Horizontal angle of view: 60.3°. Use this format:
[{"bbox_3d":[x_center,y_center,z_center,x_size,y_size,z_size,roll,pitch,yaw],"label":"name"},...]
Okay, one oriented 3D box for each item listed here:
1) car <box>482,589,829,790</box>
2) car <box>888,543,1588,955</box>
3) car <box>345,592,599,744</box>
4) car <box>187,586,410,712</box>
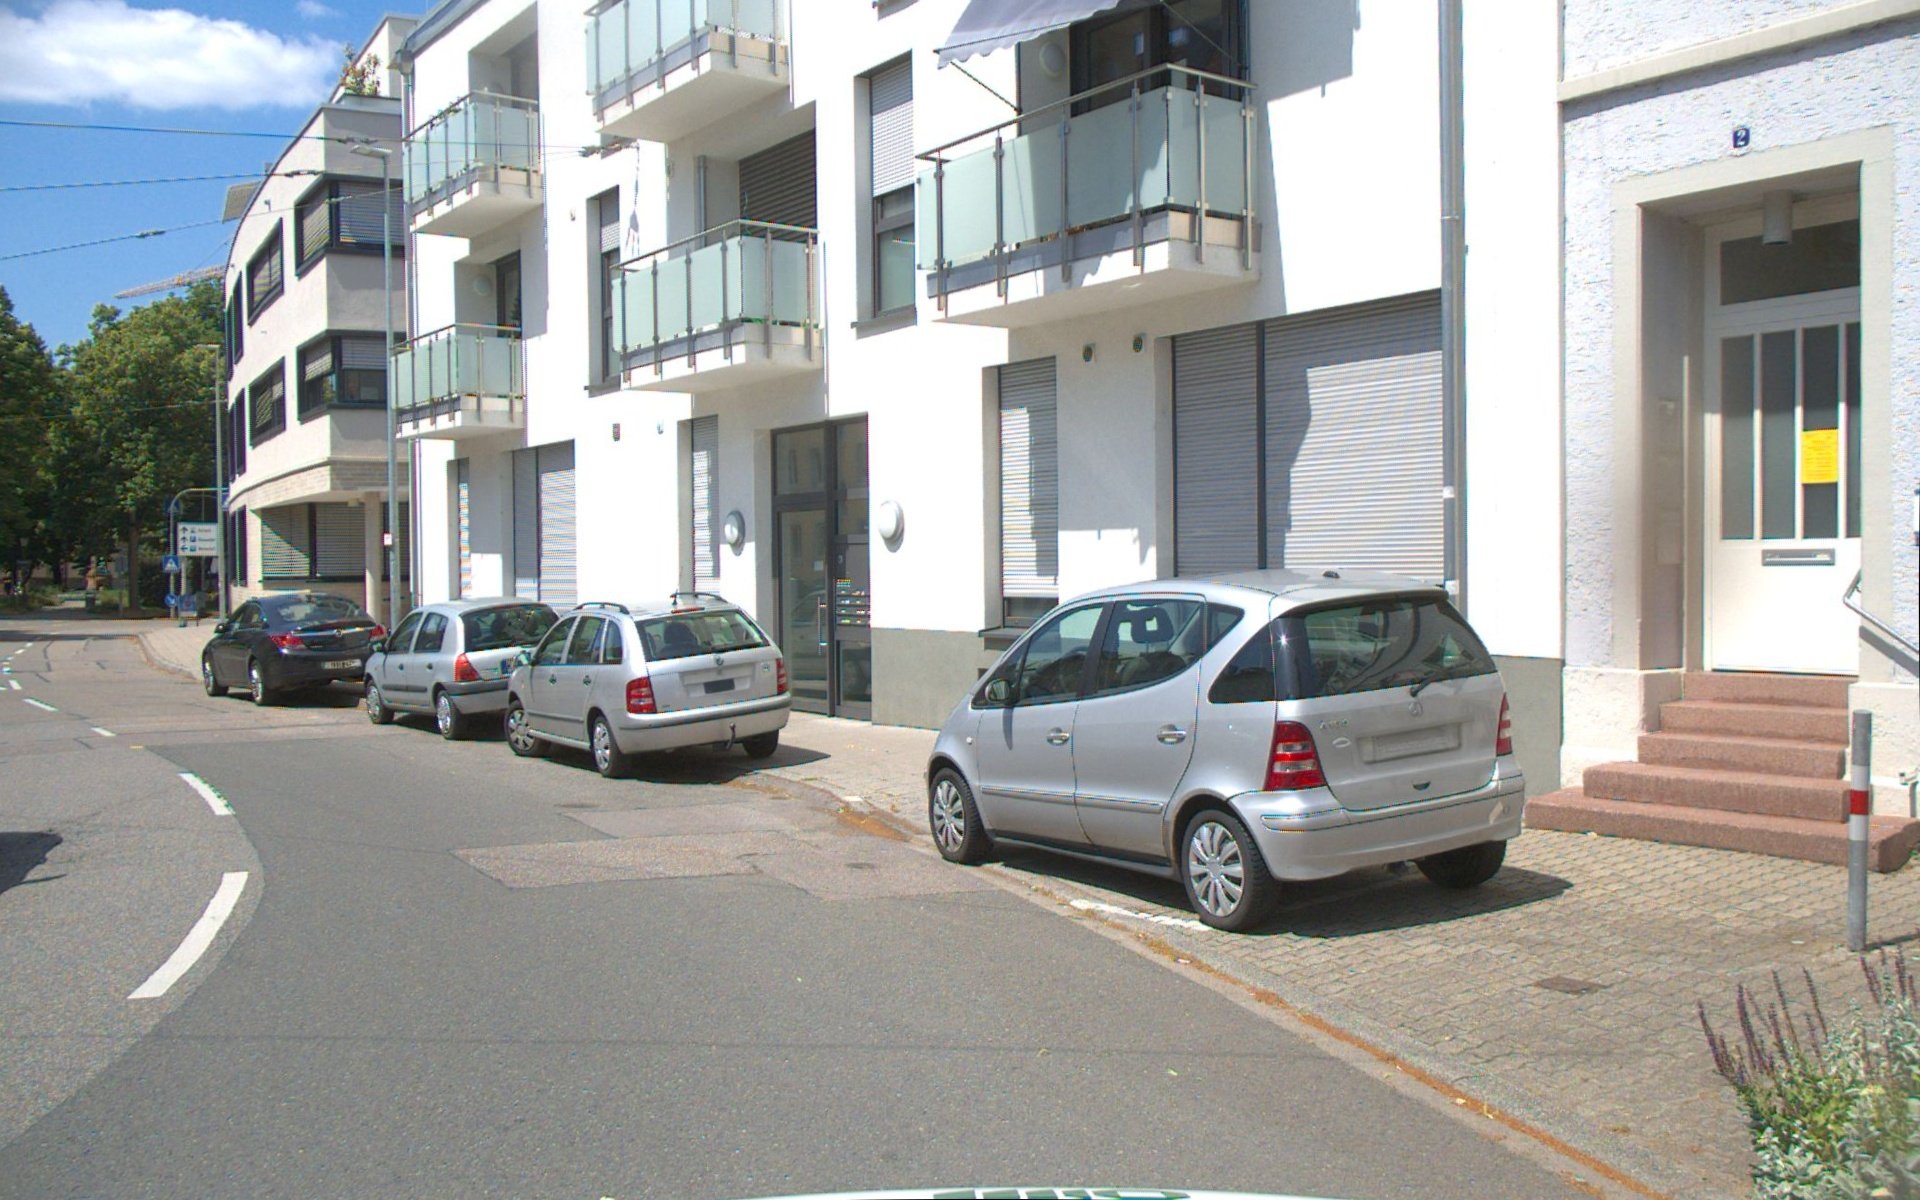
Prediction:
[{"bbox_3d":[-2.943,0.705,15.302,1.711,1.457,3.997,-6,3,-32],"label":"car"},{"bbox_3d":[1.252,0.618,8.947,1.709,1.638,3.762,-4,2,-29],"label":"car"},{"bbox_3d":[-5.727,0.713,19.149,1.581,1.457,3.658,-6,3,-36],"label":"car"},{"bbox_3d":[-9.842,0.665,24.409,1.788,1.535,4.485,-6,3,-38],"label":"car"}]
